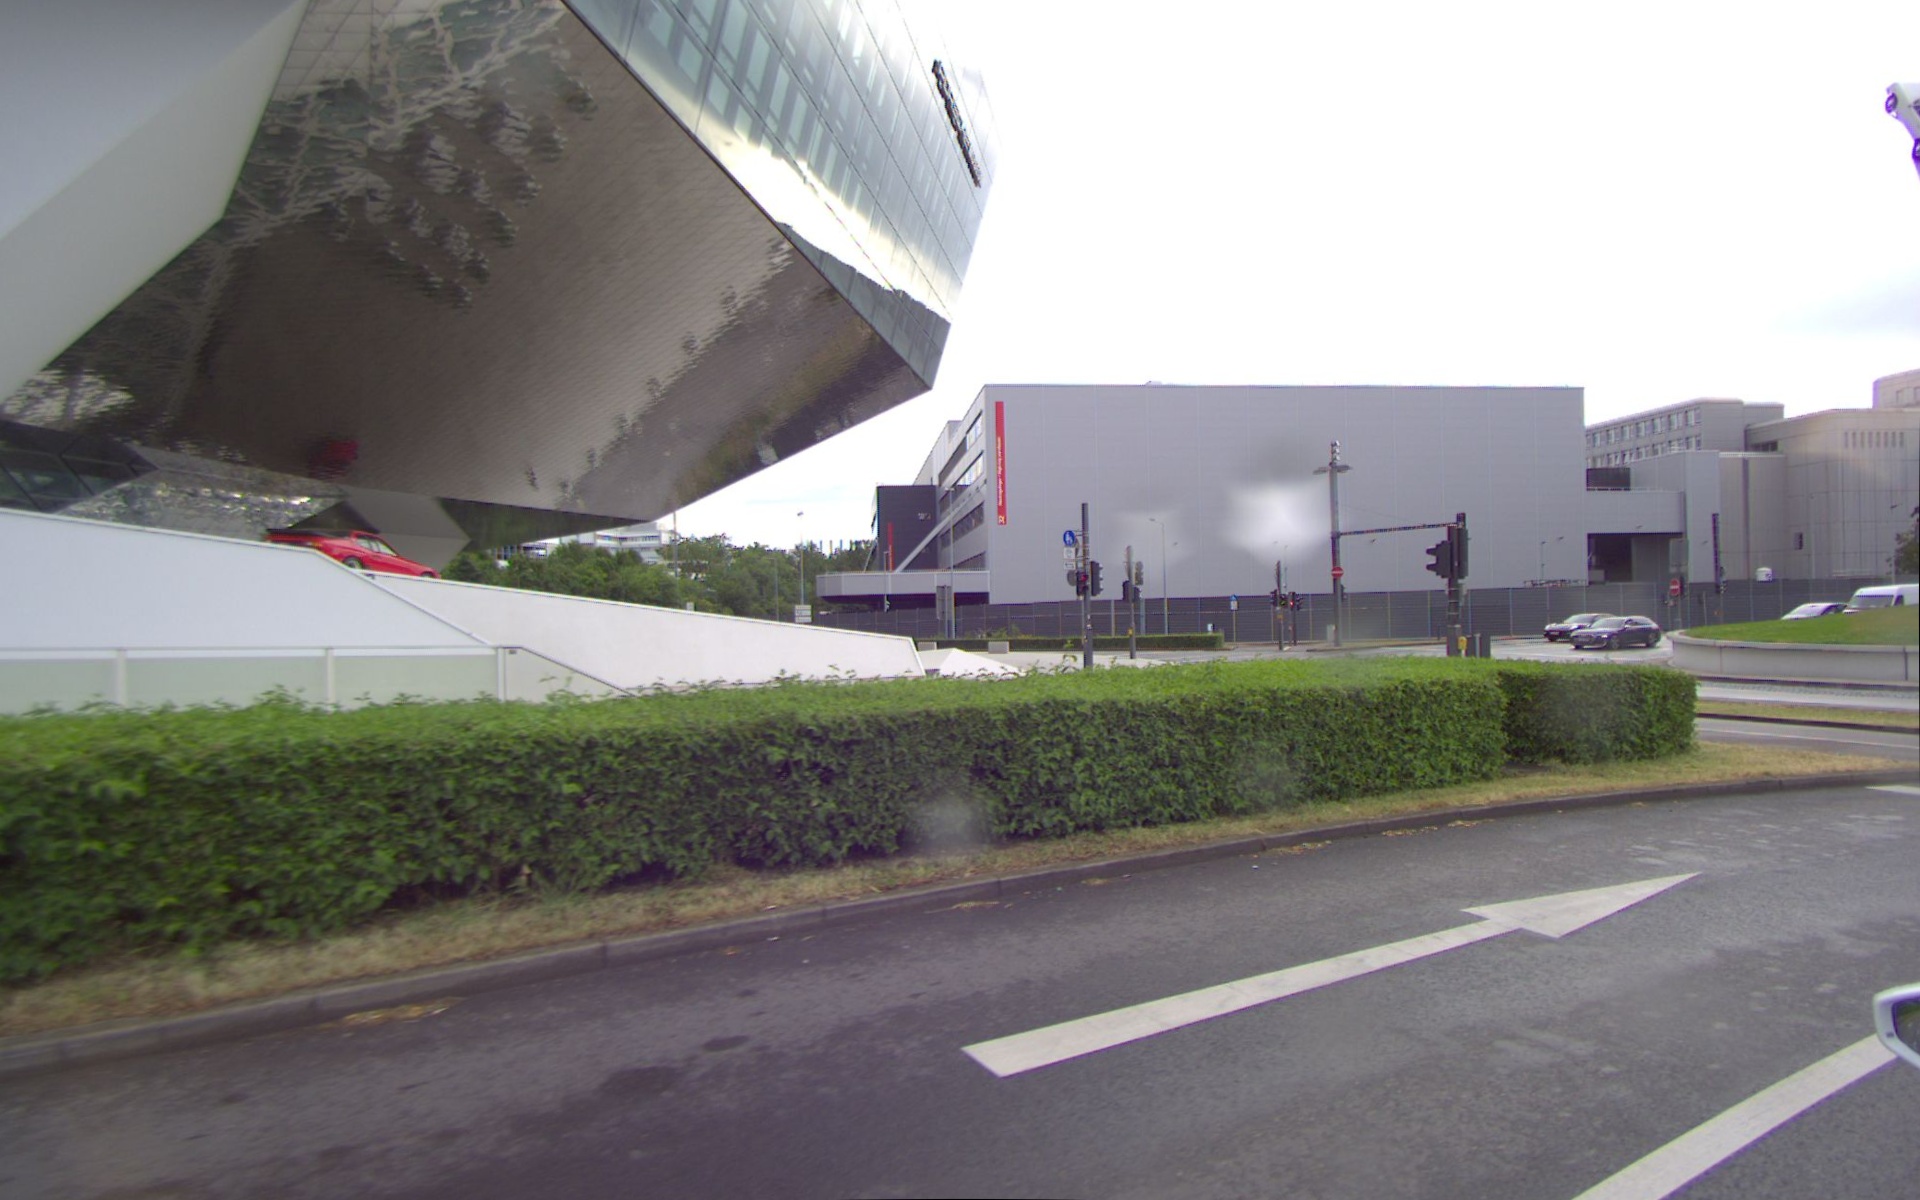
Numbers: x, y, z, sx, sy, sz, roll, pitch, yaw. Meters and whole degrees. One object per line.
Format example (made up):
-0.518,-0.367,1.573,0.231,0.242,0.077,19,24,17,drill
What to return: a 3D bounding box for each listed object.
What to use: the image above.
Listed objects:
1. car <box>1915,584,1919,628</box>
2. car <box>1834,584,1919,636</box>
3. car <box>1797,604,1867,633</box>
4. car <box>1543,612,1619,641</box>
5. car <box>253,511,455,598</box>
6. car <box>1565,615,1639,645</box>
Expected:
66.074,0.387,66.252,7.028,2.858,1.962,1,-1,-24,car
46.352,0.512,50.041,5.346,2.479,1.990,0,-1,-21,car
47.891,1.021,55.150,3.955,1.514,1.824,1,-1,-31,car
33.480,1.413,54.134,4.466,1.491,1.822,1,-1,-34,car
-13.731,-0.954,23.088,1.605,1.258,4.108,0,-8,10,car
30.731,1.410,48.064,3.966,1.356,1.831,1,-1,-39,car
